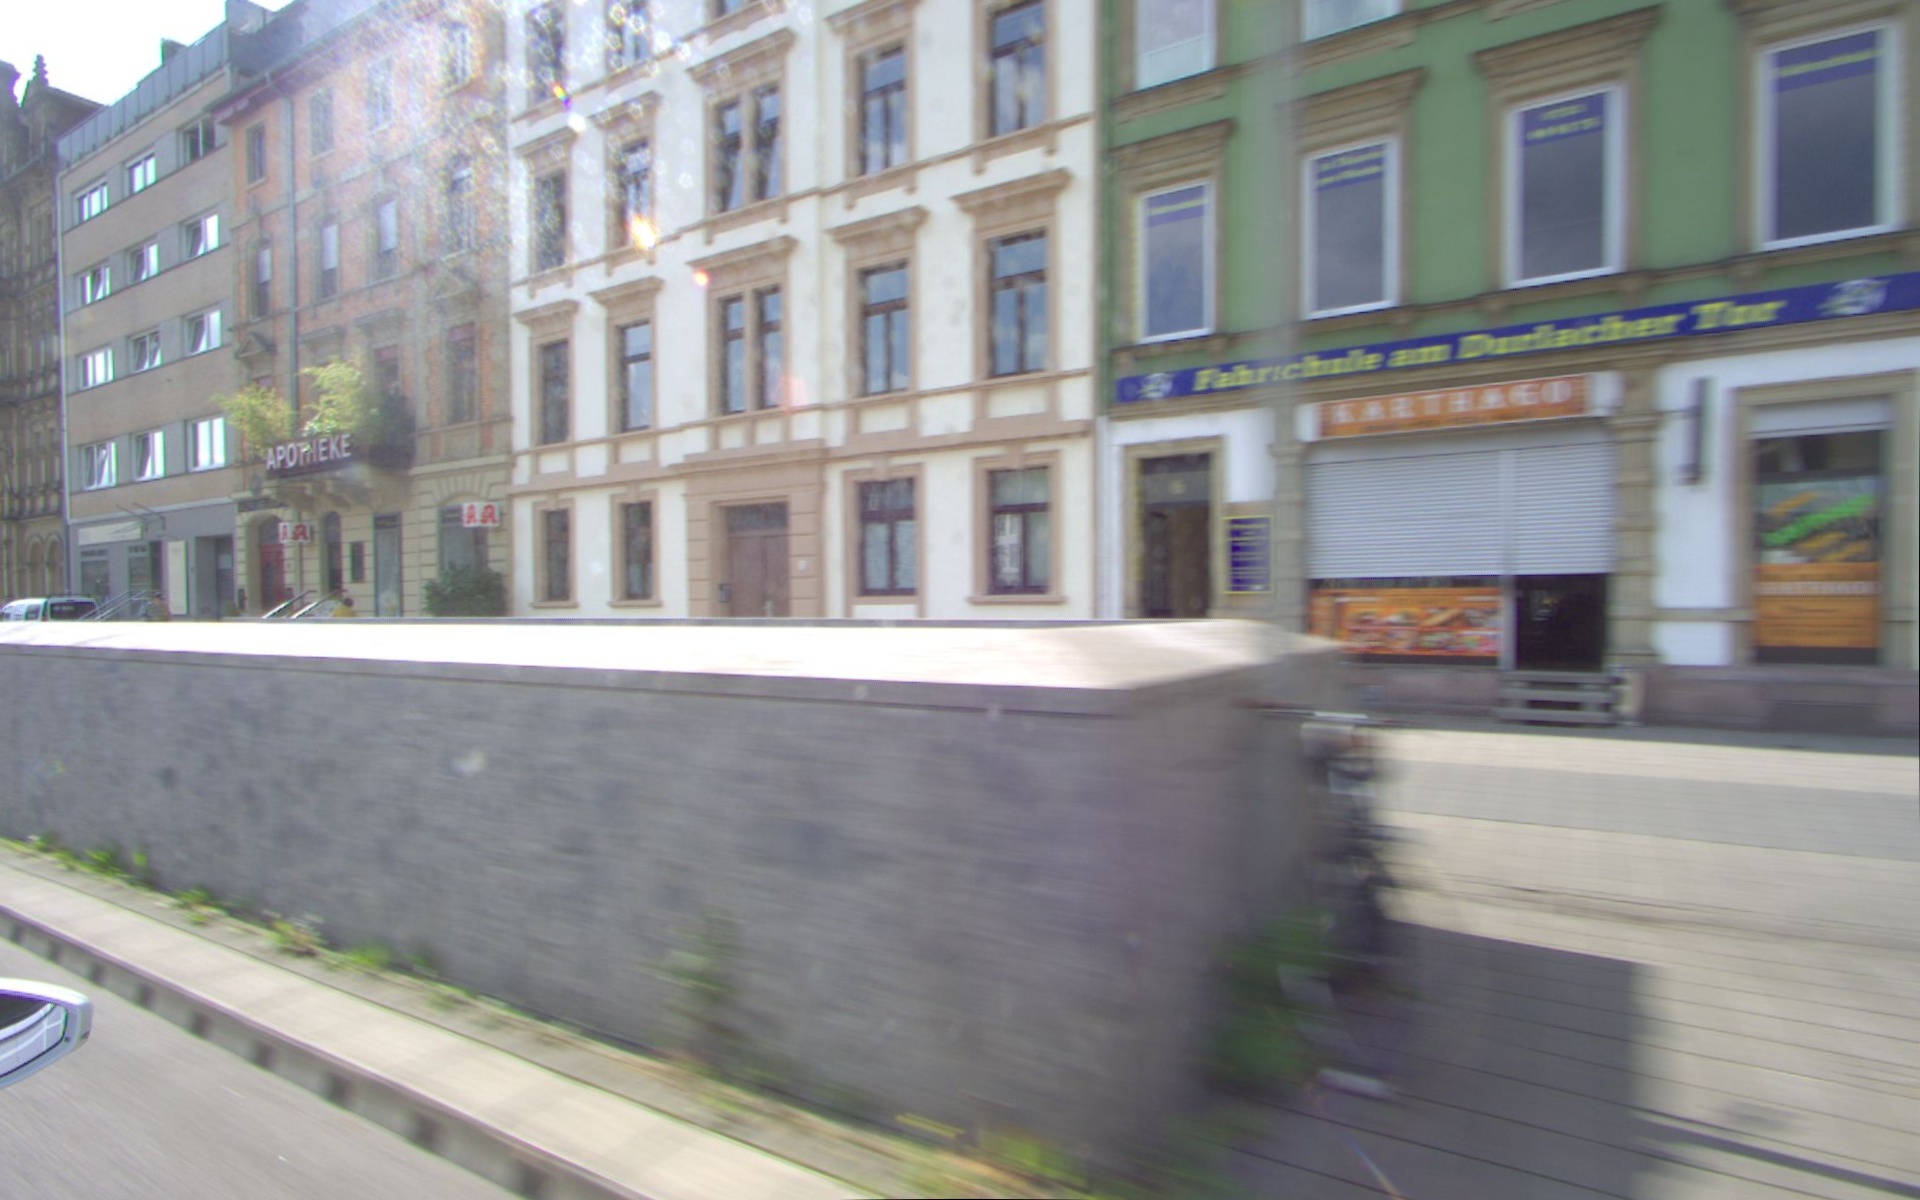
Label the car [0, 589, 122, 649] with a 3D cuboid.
[{"bbox_3d":[-30.276,0.647,33.317,4.678,1.886,1.992,-1,0,27],"label":"car"}]

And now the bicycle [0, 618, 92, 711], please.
[{"bbox_3d":[-13.430,0.903,13.997,0.435,1.254,1.919,3,1,34],"label":"bicycle"}]

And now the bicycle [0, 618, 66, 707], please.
[{"bbox_3d":[-14.074,0.904,14.290,0.435,1.254,1.919,3,1,34],"label":"bicycle"}]

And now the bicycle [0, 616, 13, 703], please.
[{"bbox_3d":[-14.783,0.876,14.206,0.435,1.254,1.919,3,1,34],"label":"bicycle"}]

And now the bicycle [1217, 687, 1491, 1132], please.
[{"bbox_3d":[1.450,0.885,3.488,0.603,1.109,1.632,3,-3,30],"label":"bicycle"}]

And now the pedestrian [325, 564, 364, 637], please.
[{"bbox_3d":[-14.775,0.011,24.035,0.603,1.721,0.577,3,2,33],"label":"pedestrian"}]

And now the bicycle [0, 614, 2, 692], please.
[{"bbox_3d":[-16.078,0.853,15.415,0.433,1.254,1.925,2,1,22],"label":"bicycle"}]

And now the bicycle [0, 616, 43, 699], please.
[{"bbox_3d":[-15.180,0.895,15.163,0.433,1.254,1.926,2,1,19],"label":"bicycle"}]

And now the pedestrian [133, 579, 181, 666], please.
[{"bbox_3d":[-20.106,0.550,25.069,0.775,2.128,0.719,3,2,33],"label":"pedestrian"}]
